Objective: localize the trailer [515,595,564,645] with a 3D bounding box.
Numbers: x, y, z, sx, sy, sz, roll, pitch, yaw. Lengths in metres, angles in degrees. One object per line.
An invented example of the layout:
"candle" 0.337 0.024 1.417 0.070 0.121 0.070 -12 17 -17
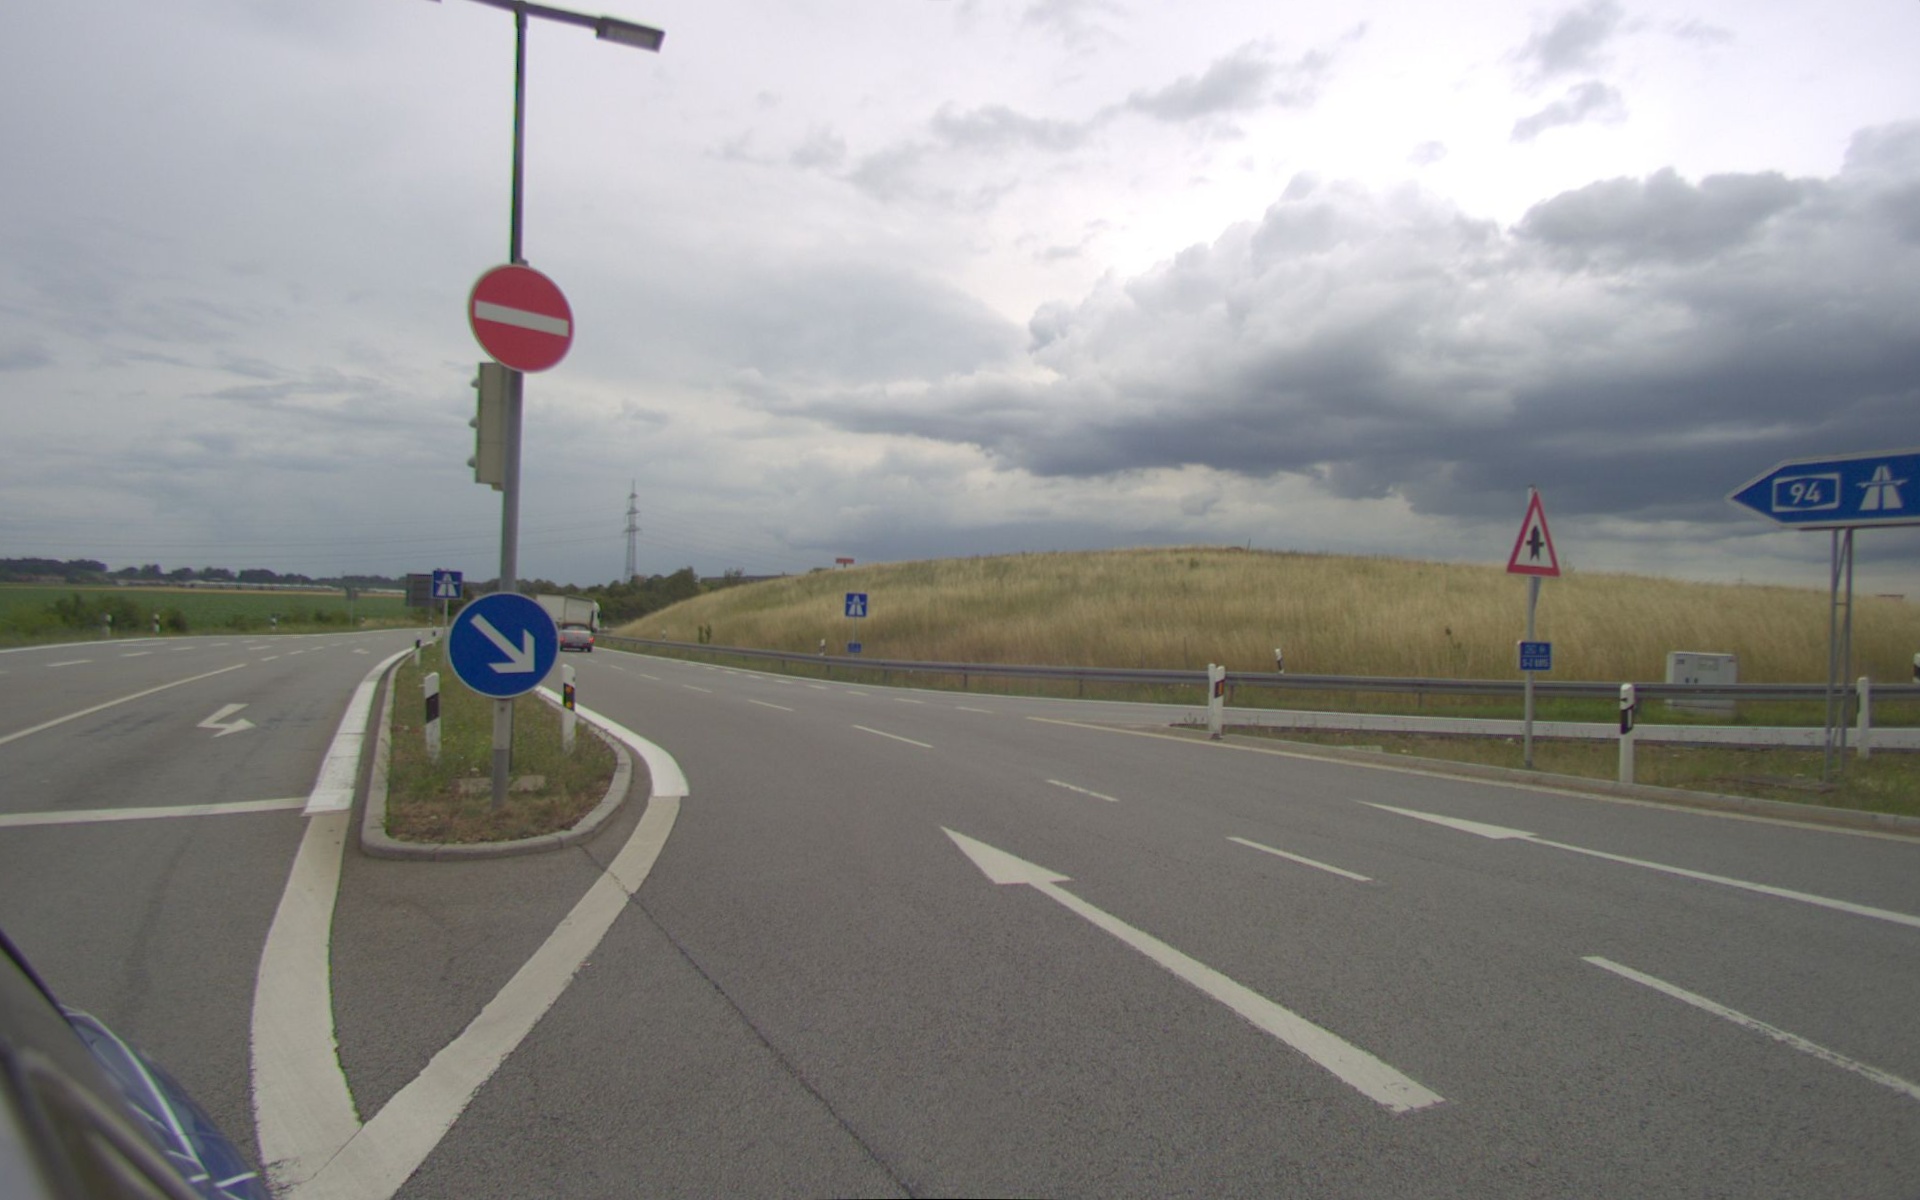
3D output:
"trailer" -39.107 1.750 93.874 2.654 4.242 13.885 2 -1 -28

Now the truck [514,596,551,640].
"truck" -42.007 1.764 99.344 2.612 4.172 6.424 2 -1 -28

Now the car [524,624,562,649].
"car" -30.624 2.643 74.266 1.966 1.707 4.469 2 -1 -30

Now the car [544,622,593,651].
"car" -20.998 1.949 54.184 1.785 1.532 4.255 1 -2 -30
